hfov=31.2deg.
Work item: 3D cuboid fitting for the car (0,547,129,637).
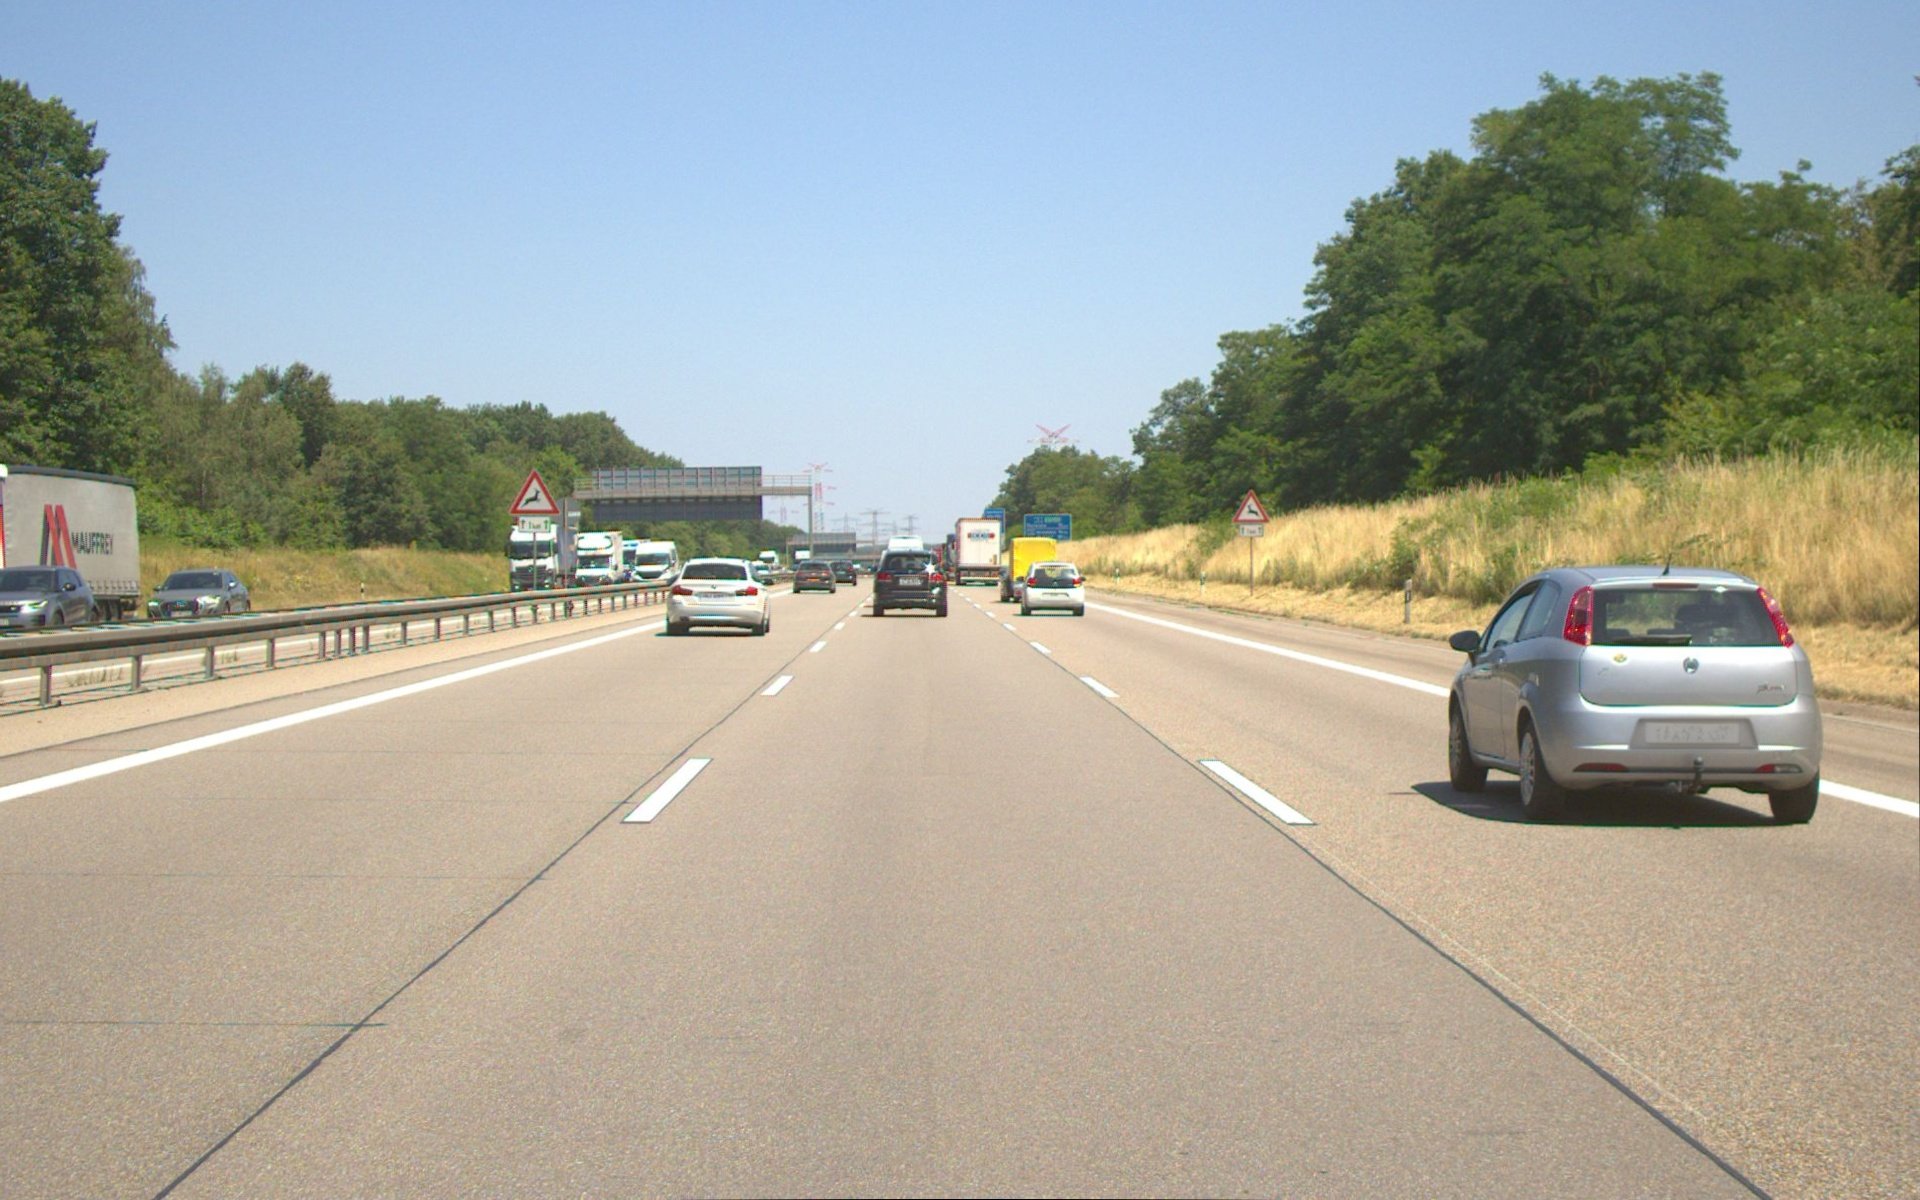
[{"bbox_3d":[-17.165,-0.159,64.268,1.993,1.562,5.190,-2,1,0],"label":"car"}]

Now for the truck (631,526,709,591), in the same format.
[{"bbox_3d":[-15.556,-2.244,185.220,3.434,3.333,10.572,-1,1,-1],"label":"truck"}]

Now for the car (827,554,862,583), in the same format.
[{"bbox_3d":[-6.731,-1.847,201.116,1.876,1.575,3.928,0,2,1],"label":"car"}]

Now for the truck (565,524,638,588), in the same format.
[{"bbox_3d":[-19.440,-2.389,186.682,3.434,3.333,5.237,-1,1,-1],"label":"truck"}]

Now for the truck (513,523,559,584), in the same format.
[{"bbox_3d":[-23.884,-2.634,193.762,2.119,3.333,4.000,-1,1,-1],"label":"truck"}]

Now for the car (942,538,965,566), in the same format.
[{"bbox_3d":[-0.524,-3.617,259.133,1.556,2.007,3.901,2,1,-2],"label":"car"}]

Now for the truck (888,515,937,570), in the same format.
[{"bbox_3d":[-2.557,-3.048,184.581,2.428,2.874,6.206,1,0,-2],"label":"truck"}]

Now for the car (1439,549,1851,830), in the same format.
[{"bbox_3d":[4.062,0.470,20.952,1.719,1.486,3.737,1,2,0],"label":"car"}]

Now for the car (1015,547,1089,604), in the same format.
[{"bbox_3d":[2.483,-0.671,93.536,1.821,1.486,3.737,1,0,-2],"label":"car"}]

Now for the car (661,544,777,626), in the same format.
[{"bbox_3d":[-4.631,-0.315,66.739,1.963,1.498,5.405,1,1,-1],"label":"car"}]

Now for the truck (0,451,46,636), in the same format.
[{"bbox_3d":[-22.424,-1.198,75.956,2.904,4.053,5.654,-2,1,-2],"label":"truck"}]

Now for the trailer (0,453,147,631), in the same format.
[{"bbox_3d":[-22.624,-1.343,83.357,2.911,3.978,12.959,-2,1,-2],"label":"trailer"}]

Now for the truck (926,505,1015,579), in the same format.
[{"bbox_3d":[0.592,-3.568,211.560,3.991,4.300,9.884,2,1,-8],"label":"truck"}]

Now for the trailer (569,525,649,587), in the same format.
[{"bbox_3d":[-19.563,-2.476,192.358,3.434,3.333,12.023,-1,1,-1],"label":"trailer"}]

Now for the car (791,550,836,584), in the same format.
[{"bbox_3d":[-6.432,-1.469,151.063,1.832,1.427,5.000,1,1,-1],"label":"car"}]

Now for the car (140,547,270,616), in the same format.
[{"bbox_3d":[-18.336,-0.475,83.693,1.993,1.562,5.190,-2,1,0],"label":"car"}]

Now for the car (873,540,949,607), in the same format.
[{"bbox_3d":[-1.315,-0.707,90.008,1.831,1.666,4.001,1,1,-3],"label":"car"}]

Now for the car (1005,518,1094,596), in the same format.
[{"bbox_3d":[3.117,-1.507,120.896,2.666,2.625,6.114,1,0,-2],"label":"car"}]
